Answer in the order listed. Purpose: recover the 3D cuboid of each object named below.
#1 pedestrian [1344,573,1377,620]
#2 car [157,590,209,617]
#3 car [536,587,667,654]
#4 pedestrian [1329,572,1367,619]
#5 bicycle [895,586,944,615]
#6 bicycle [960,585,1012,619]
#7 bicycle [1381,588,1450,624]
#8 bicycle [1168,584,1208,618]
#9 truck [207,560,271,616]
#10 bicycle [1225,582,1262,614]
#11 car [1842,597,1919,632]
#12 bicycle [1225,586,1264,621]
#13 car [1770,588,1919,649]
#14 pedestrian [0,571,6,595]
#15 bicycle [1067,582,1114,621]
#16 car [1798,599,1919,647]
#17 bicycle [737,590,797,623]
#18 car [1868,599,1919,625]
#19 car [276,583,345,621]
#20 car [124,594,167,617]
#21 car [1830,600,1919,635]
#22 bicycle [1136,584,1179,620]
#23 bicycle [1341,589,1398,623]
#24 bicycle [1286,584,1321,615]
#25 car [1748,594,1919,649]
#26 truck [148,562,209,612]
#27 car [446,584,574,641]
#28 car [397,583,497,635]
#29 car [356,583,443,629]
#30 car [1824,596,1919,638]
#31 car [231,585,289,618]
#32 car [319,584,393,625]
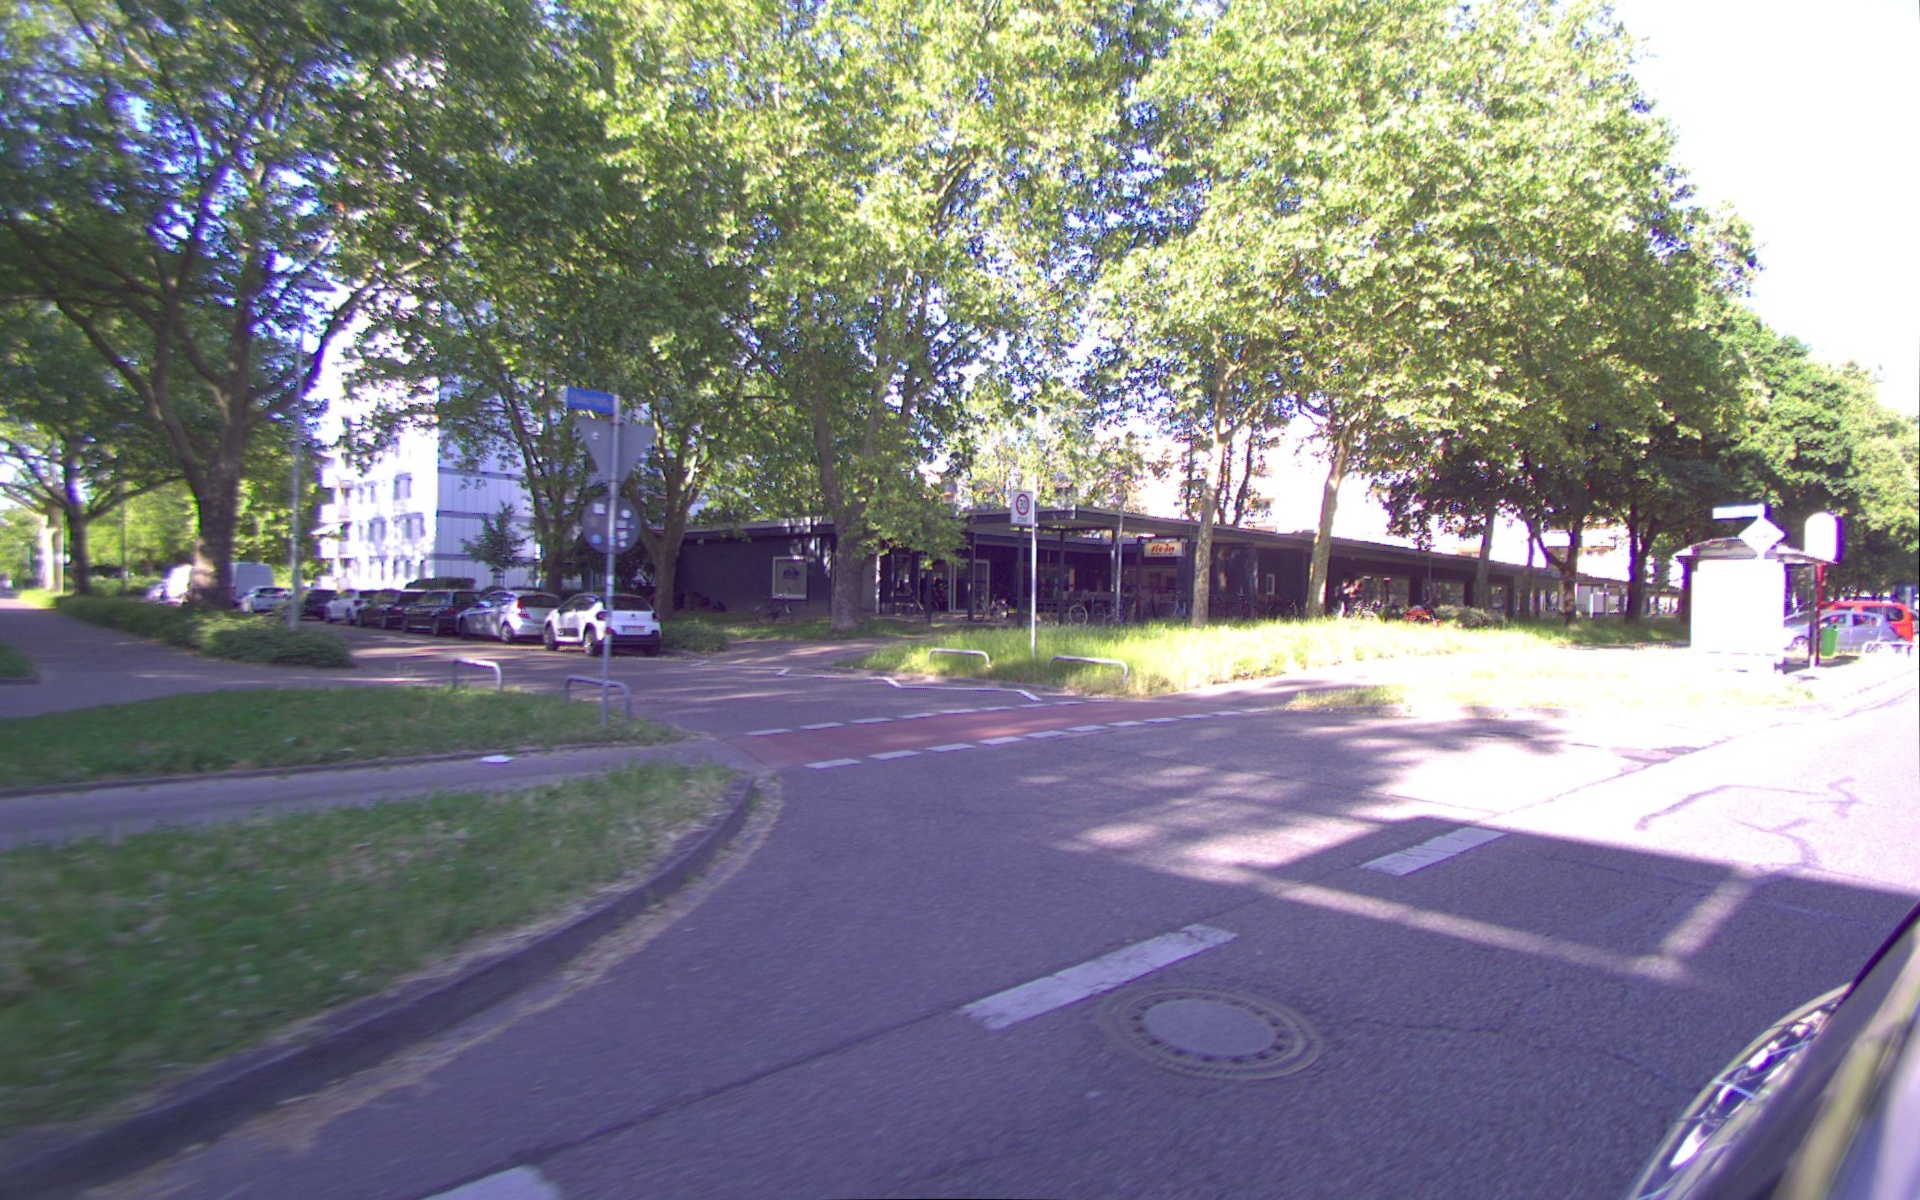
[{"bbox_3d":[15.954,-0.147,40.307,0.963,1.863,0.939,1,1,40],"label":"pedestrian"},{"bbox_3d":[-44.978,0.193,58.566,3.573,1.515,1.644,0,-2,40],"label":"car"},{"bbox_3d":[-8.834,0.492,24.783,1.680,1.515,3.733,3,-2,-42],"label":"car"},{"bbox_3d":[14.393,-0.176,37.576,1.126,1.729,0.722,1,1,40],"label":"pedestrian"},{"bbox_3d":[-1.503,0.011,37.497,1.800,0.967,0.700,4,3,42],"label":"bicycle"},{"bbox_3d":[0.897,0.055,35.176,1.799,1.129,0.700,2,2,42],"label":"bicycle"},{"bbox_3d":[15.767,0.183,35.067,2.063,1.172,0.554,2,1,39],"label":"bicycle"},{"bbox_3d":[8.582,0.035,38.067,1.776,1.269,0.576,0,-1,-43],"label":"bicycle"},{"bbox_3d":[-39.028,-0.623,54.720,5.170,2.855,1.884,0,-2,45],"label":"truck"},{"bbox_3d":[11.596,-0.072,41.360,1.776,1.269,0.576,0,-1,-43],"label":"bicycle"},{"bbox_3d":[47.297,0.745,50.792,4.227,1.697,1.865,1,0,5],"label":"car"},{"bbox_3d":[10.725,0.126,38.135,1.776,1.269,0.576,0,-1,-43],"label":"bicycle"},{"bbox_3d":[29.922,0.591,33.971,3.880,1.865,1.767,2,1,4],"label":"car"},{"bbox_3d":[-83.016,-1.466,87.344,0.929,2.039,1.017,1,0,-45],"label":"pedestrian"},{"bbox_3d":[4.369,0.037,33.822,1.776,1.269,0.576,0,-1,-43],"label":"bicycle"},{"bbox_3d":[32.217,0.805,35.806,3.563,1.513,1.681,2,1,5],"label":"car"},{"bbox_3d":[-6.644,0.216,35.000,0.504,0.971,2.164,2,4,42],"label":"bicycle"},{"bbox_3d":[58.467,0.761,61.526,4.589,1.443,2.000,2,1,1],"label":"car"},{"bbox_3d":[-28.089,0.090,43.707,3.578,1.515,1.642,0,-2,43],"label":"car"},{"bbox_3d":[-56.802,0.369,70.564,3.573,1.515,1.644,0,-2,40],"label":"car"},{"bbox_3d":[41.943,0.812,45.555,4.011,1.420,1.686,2,1,1],"label":"car"},{"bbox_3d":[7.141,0.051,36.616,1.776,1.269,0.576,0,-1,-43],"label":"bicycle"},{"bbox_3d":[15.066,0.196,37.318,0.550,1.172,2.077,1,1,-27],"label":"bicycle"},{"bbox_3d":[14.135,-0.026,41.569,1.776,1.269,0.576,0,-1,-43],"label":"bicycle"},{"bbox_3d":[27.126,0.645,31.517,3.762,1.491,1.517,2,1,5],"label":"car"},{"bbox_3d":[-49.953,-0.789,64.661,5.161,3.017,1.887,0,-2,40],"label":"truck"},{"bbox_3d":[-12.882,0.356,28.914,3.964,1.515,1.645,0,-2,38],"label":"car"},{"bbox_3d":[-16.254,0.284,31.992,3.576,1.515,1.599,0,-2,42],"label":"car"},{"bbox_3d":[-19.878,0.214,35.832,3.577,1.515,1.602,0,-2,42],"label":"car"},{"bbox_3d":[39.383,0.743,43.084,3.653,1.610,1.700,2,1,1],"label":"car"},{"bbox_3d":[-34.497,0.066,49.872,3.579,1.515,1.641,0,-2,44],"label":"car"},{"bbox_3d":[-23.659,0.177,39.610,3.578,1.515,1.559,0,-2,44],"label":"car"}]
